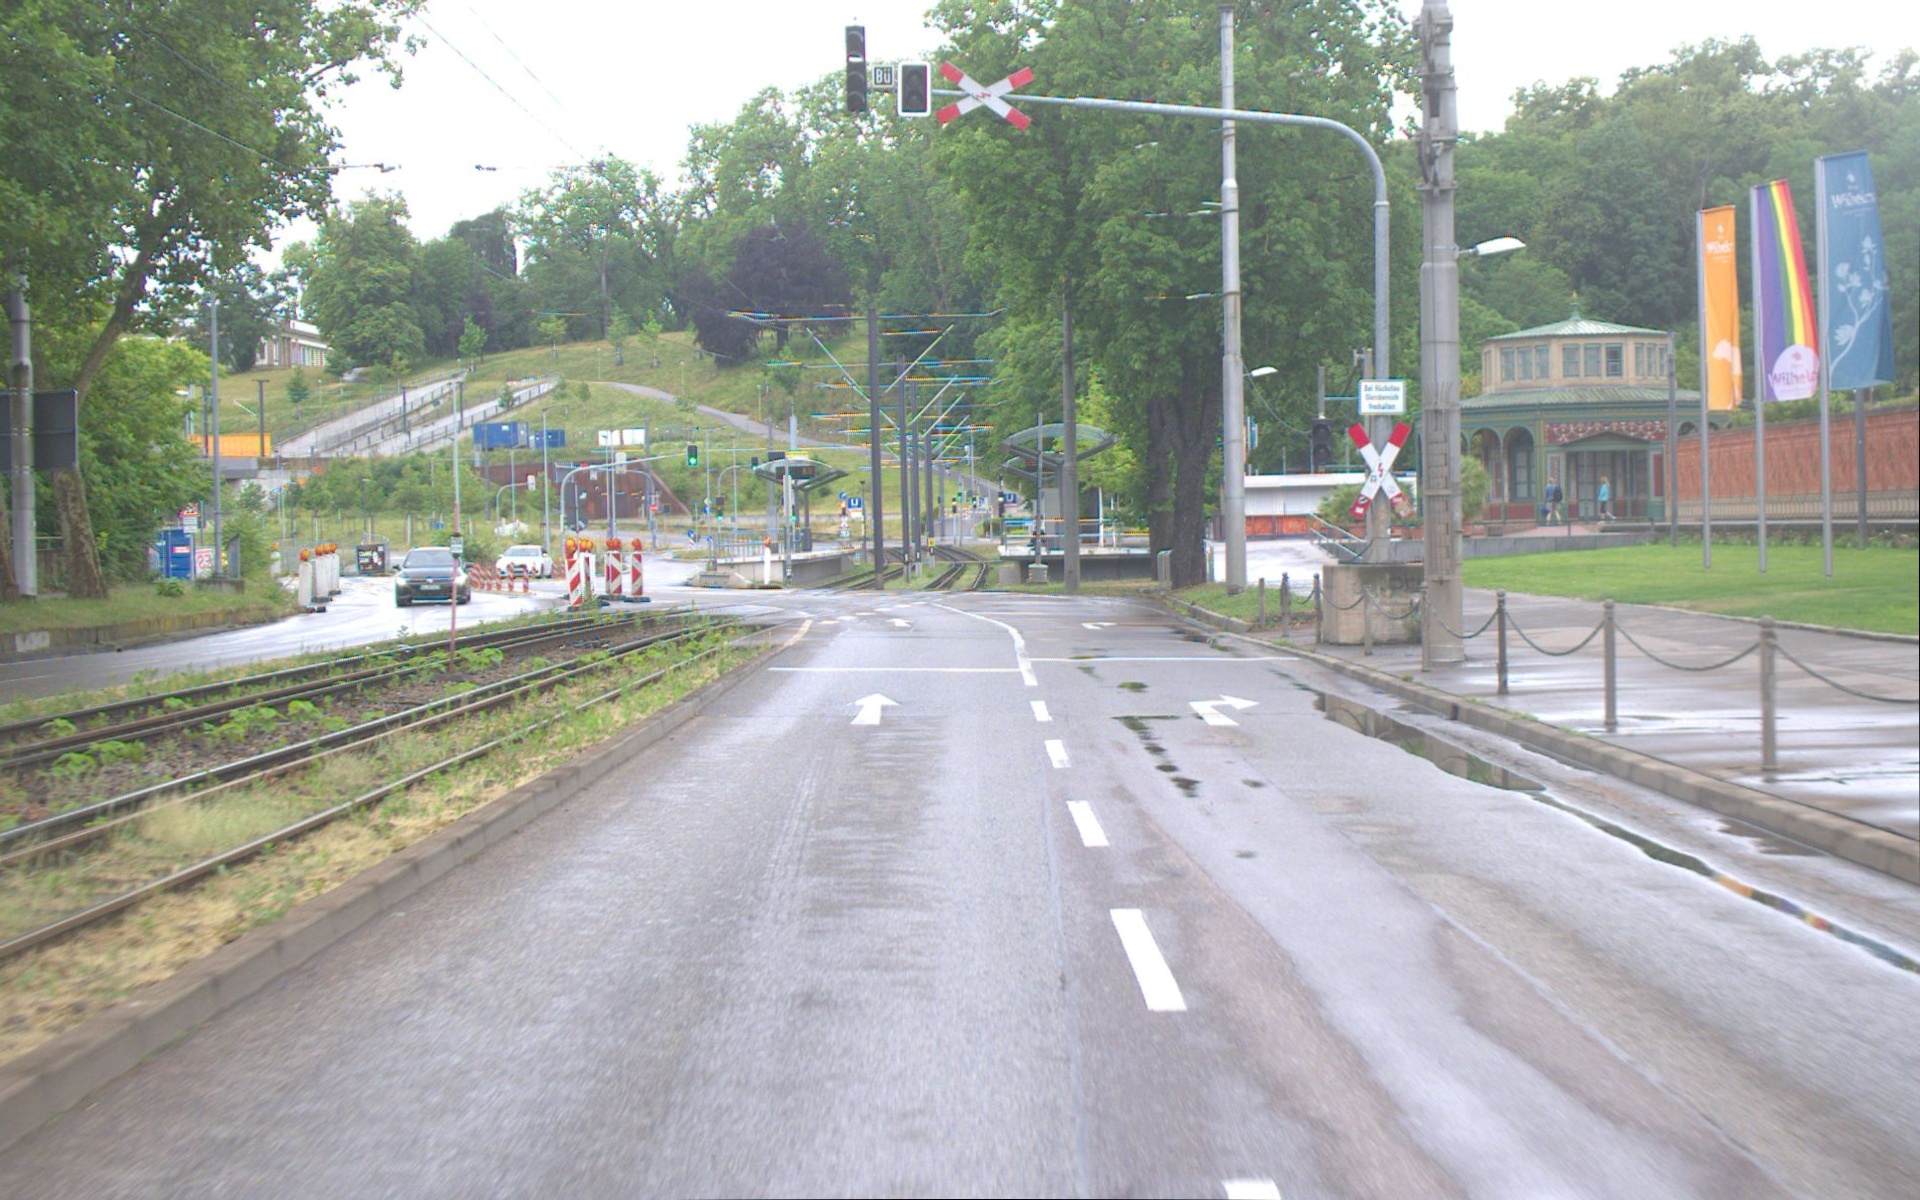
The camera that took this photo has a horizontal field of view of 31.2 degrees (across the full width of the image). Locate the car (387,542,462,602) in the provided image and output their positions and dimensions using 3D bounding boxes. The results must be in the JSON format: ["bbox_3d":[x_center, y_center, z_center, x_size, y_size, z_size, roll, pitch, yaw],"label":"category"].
[{"bbox_3d":[-13.651,-0.714,87.793,1.746,1.425,4.561,-2,1,-7],"label":"car"}]

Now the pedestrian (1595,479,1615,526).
[{"bbox_3d":[22.600,-3.415,120.502,0.551,1.651,0.468,0,0,35],"label":"pedestrian"}]

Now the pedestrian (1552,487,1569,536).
[{"bbox_3d":[21.258,-3.125,121.643,0.531,1.705,0.695,1,-1,12],"label":"pedestrian"}]
